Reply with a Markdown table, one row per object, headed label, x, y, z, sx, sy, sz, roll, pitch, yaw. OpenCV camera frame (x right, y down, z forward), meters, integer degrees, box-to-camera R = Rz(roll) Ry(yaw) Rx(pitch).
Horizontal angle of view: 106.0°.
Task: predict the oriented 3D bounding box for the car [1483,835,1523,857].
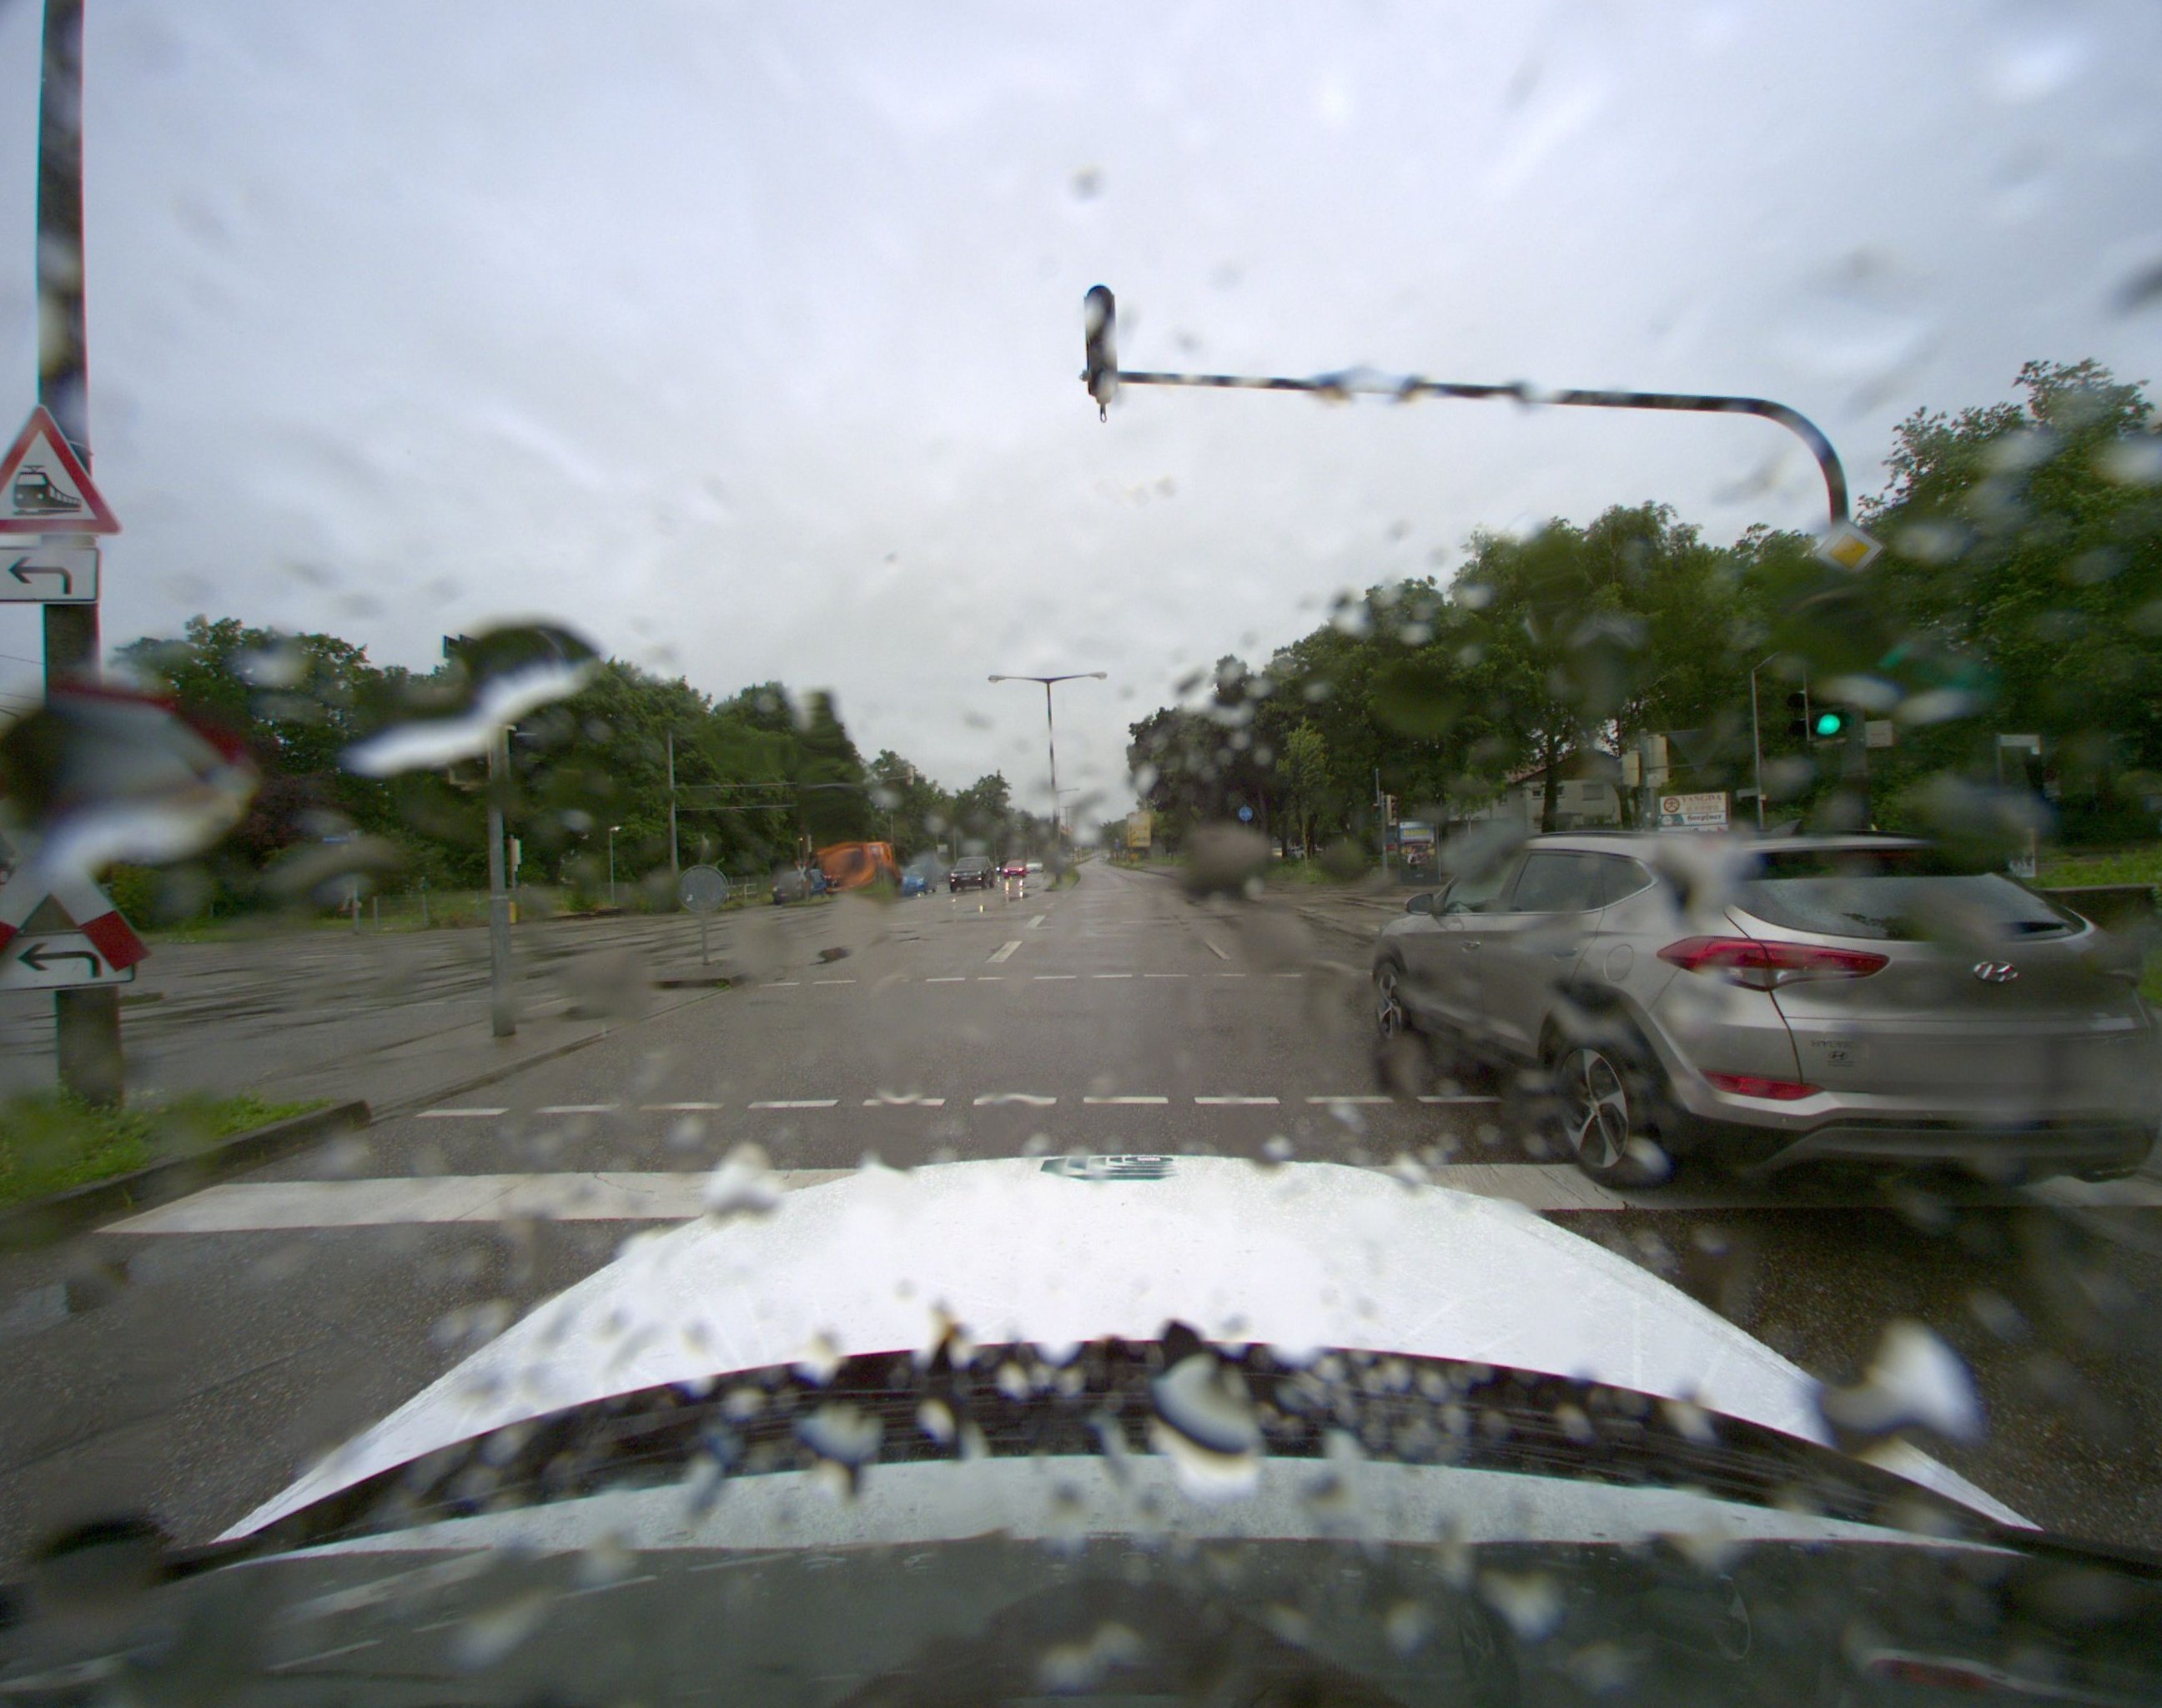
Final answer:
| label | x | y | z | sx | sy | sz | roll | pitch | yaw |
| --- | --- | --- | --- | --- | --- | --- | --- | --- | --- |
| car | 29.134 | -0.501 | 56.154 | 1.648 | 1.449 | 3.775 | -1 | -1 | 40 |

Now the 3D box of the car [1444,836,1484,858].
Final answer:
| label | x | y | z | sx | sy | sz | roll | pitch | yaw |
| --- | --- | --- | --- | --- | --- | --- | --- | --- | --- |
| car | 27.106 | -0.455 | 57.527 | 1.648 | 1.449 | 3.775 | -1 | -1 | 40 |

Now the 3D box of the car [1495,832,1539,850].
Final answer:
| label | x | y | z | sx | sy | sz | roll | pitch | yaw |
| --- | --- | --- | --- | --- | --- | --- | --- | --- | --- |
| car | 36.655 | -1.054 | 68.569 | 1.579 | 1.385 | 3.998 | -1 | -1 | -1 |

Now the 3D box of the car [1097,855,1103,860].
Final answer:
| label | x | y | z | sx | sy | sz | roll | pitch | yaw |
| --- | --- | --- | --- | --- | --- | --- | --- | --- | --- |
| car | 6.135 | 1.133 | 259.793 | 1.900 | 1.515 | 4.002 | -2 | 0 | 2 |

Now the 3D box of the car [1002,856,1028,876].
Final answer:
| label | x | y | z | sx | sy | sz | roll | pitch | yaw |
| --- | --- | --- | --- | --- | --- | --- | --- | --- | --- |
| car | -5.686 | 1.069 | 70.748 | 1.795 | 1.569 | 4.428 | -4 | -1 | 0 |

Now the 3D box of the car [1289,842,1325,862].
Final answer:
| label | x | y | z | sx | sy | sz | roll | pitch | yaw |
| --- | --- | --- | --- | --- | --- | --- | --- | --- | --- |
| car | 21.812 | -0.181 | 78.826 | 1.988 | 1.717 | 4.876 | -3 | -1 | -1 |

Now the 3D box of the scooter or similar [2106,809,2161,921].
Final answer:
| label | x | y | z | sx | sy | sz | roll | pitch | yaw |
| --- | --- | --- | --- | --- | --- | --- | --- | --- | --- |
| scooter or similar | 12.219 | 0.107 | 9.112 | 0.952 | 1.230 | 0.322 | -3 | 0 | 6 |

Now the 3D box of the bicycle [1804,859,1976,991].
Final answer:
| label | x | y | z | sx | sy | sz | roll | pitch | yaw |
| --- | --- | --- | --- | --- | --- | --- | --- | --- | --- |
| bicycle | 8.048 | 0.665 | 8.093 | 1.671 | 1.038 | 0.781 | -6 | -1 | -32 |

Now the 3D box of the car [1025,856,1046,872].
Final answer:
| label | x | y | z | sx | sy | sz | roll | pitch | yaw |
| --- | --- | --- | --- | --- | --- | --- | --- | --- | --- |
| car | -5.210 | 1.113 | 93.006 | 1.954 | 1.617 | 4.698 | -3 | 0 | 1 |

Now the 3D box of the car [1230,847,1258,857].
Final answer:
| label | x | y | z | sx | sy | sz | roll | pitch | yaw |
| --- | --- | --- | --- | --- | --- | --- | --- | --- | --- |
| car | 29.949 | -0.337 | 149.641 | 4.561 | 1.645 | 1.997 | -1 | -1 | -5 |

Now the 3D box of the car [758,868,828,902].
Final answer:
| label | x | y | z | sx | sy | sz | roll | pitch | yaw |
| --- | --- | --- | --- | --- | --- | --- | --- | --- | --- |
| car | -15.410 | 1.606 | 43.788 | 1.986 | 1.709 | 4.529 | -1 | -1 | 2 |

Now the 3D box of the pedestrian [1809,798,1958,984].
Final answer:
| label | x | y | z | sx | sy | sz | roll | pitch | yaw |
| --- | --- | --- | --- | --- | --- | --- | --- | --- | --- |
| pedestrian | 7.867 | 0.352 | 7.999 | 0.671 | 1.678 | 0.781 | -6 | -1 | -32 |

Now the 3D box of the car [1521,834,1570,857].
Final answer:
| label | x | y | z | sx | sy | sz | roll | pitch | yaw |
| --- | --- | --- | --- | --- | --- | --- | --- | --- | --- |
| car | 30.794 | -0.552 | 53.941 | 3.772 | 1.449 | 1.650 | 0 | -1 | -41 |

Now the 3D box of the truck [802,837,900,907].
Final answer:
| label | x | y | z | sx | sy | sz | roll | pitch | yaw |
| --- | --- | --- | --- | --- | --- | --- | --- | --- | --- |
| truck | -14.958 | 1.159 | 54.112 | 3.373 | 4.167 | 10.407 | -1 | -1 | 1 |

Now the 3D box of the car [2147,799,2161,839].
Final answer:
| label | x | y | z | sx | sy | sz | roll | pitch | yaw |
| --- | --- | --- | --- | --- | --- | --- | --- | --- | --- |
| car | 45.176 | -1.428 | 32.004 | 4.582 | 1.583 | 1.921 | -1 | -1 | -7 |

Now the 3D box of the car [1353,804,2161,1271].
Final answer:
| label | x | y | z | sx | sy | sz | roll | pitch | yaw |
| --- | --- | --- | --- | --- | --- | --- | --- | --- | --- |
| car | 3.254 | 0.653 | 4.962 | 1.877 | 1.610 | 4.197 | -1 | 0 | 2 |

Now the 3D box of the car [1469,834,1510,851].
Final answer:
| label | x | y | z | sx | sy | sz | roll | pitch | yaw |
| --- | --- | --- | --- | --- | --- | --- | --- | --- | --- |
| car | 34.297 | -0.955 | 68.485 | 1.568 | 1.316 | 3.699 | -1 | -1 | -2 |

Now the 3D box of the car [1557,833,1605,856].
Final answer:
| label | x | y | z | sx | sy | sz | roll | pitch | yaw |
| --- | --- | --- | --- | --- | --- | --- | --- | --- | --- |
| car | 32.305 | -0.589 | 52.603 | 3.772 | 1.449 | 1.584 | 0 | -1 | -41 |

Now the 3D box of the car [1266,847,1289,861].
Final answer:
| label | x | y | z | sx | sy | sz | roll | pitch | yaw |
| --- | --- | --- | --- | --- | --- | --- | --- | --- | --- |
| car | 22.226 | -0.020 | 92.250 | 1.632 | 1.486 | 4.071 | -1 | -1 | -1 |

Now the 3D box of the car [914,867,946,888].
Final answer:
| label | x | y | z | sx | sy | sz | roll | pitch | yaw |
| --- | --- | --- | --- | --- | --- | --- | --- | --- | --- |
| car | -13.645 | 2.080 | 73.865 | 1.987 | 1.827 | 4.770 | -1 | -1 | 0 |

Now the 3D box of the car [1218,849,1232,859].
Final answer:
| label | x | y | z | sx | sy | sz | roll | pitch | yaw |
| --- | --- | --- | --- | --- | --- | --- | --- | --- | --- |
| car | 23.626 | -0.062 | 133.423 | 1.737 | 1.445 | 4.126 | -3 | 1 | 4 |

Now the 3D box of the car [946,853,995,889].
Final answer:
| label | x | y | z | sx | sy | sz | roll | pitch | yaw |
| --- | --- | --- | --- | --- | --- | --- | --- | --- | --- |
| car | -6.077 | 0.924 | 45.311 | 1.799 | 1.773 | 5.090 | -4 | 0 | 1 |

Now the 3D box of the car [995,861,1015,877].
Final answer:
| label | x | y | z | sx | sy | sz | roll | pitch | yaw |
| --- | --- | --- | --- | --- | --- | --- | --- | --- | --- |
| car | -9.120 | 1.784 | 97.886 | 1.700 | 1.641 | 4.332 | -4 | 0 | 2 |

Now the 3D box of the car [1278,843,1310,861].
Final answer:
| label | x | y | z | sx | sy | sz | roll | pitch | yaw |
| --- | --- | --- | --- | --- | --- | --- | --- | --- | --- |
| car | 22.019 | -0.172 | 84.430 | 1.988 | 1.717 | 4.639 | -3 | -1 | -1 |

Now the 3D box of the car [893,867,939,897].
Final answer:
| label | x | y | z | sx | sy | sz | roll | pitch | yaw |
| --- | --- | --- | --- | --- | --- | --- | --- | --- | --- |
| car | -8.928 | 1.474 | 44.408 | 1.636 | 1.427 | 3.998 | -5 | -1 | -1 |
